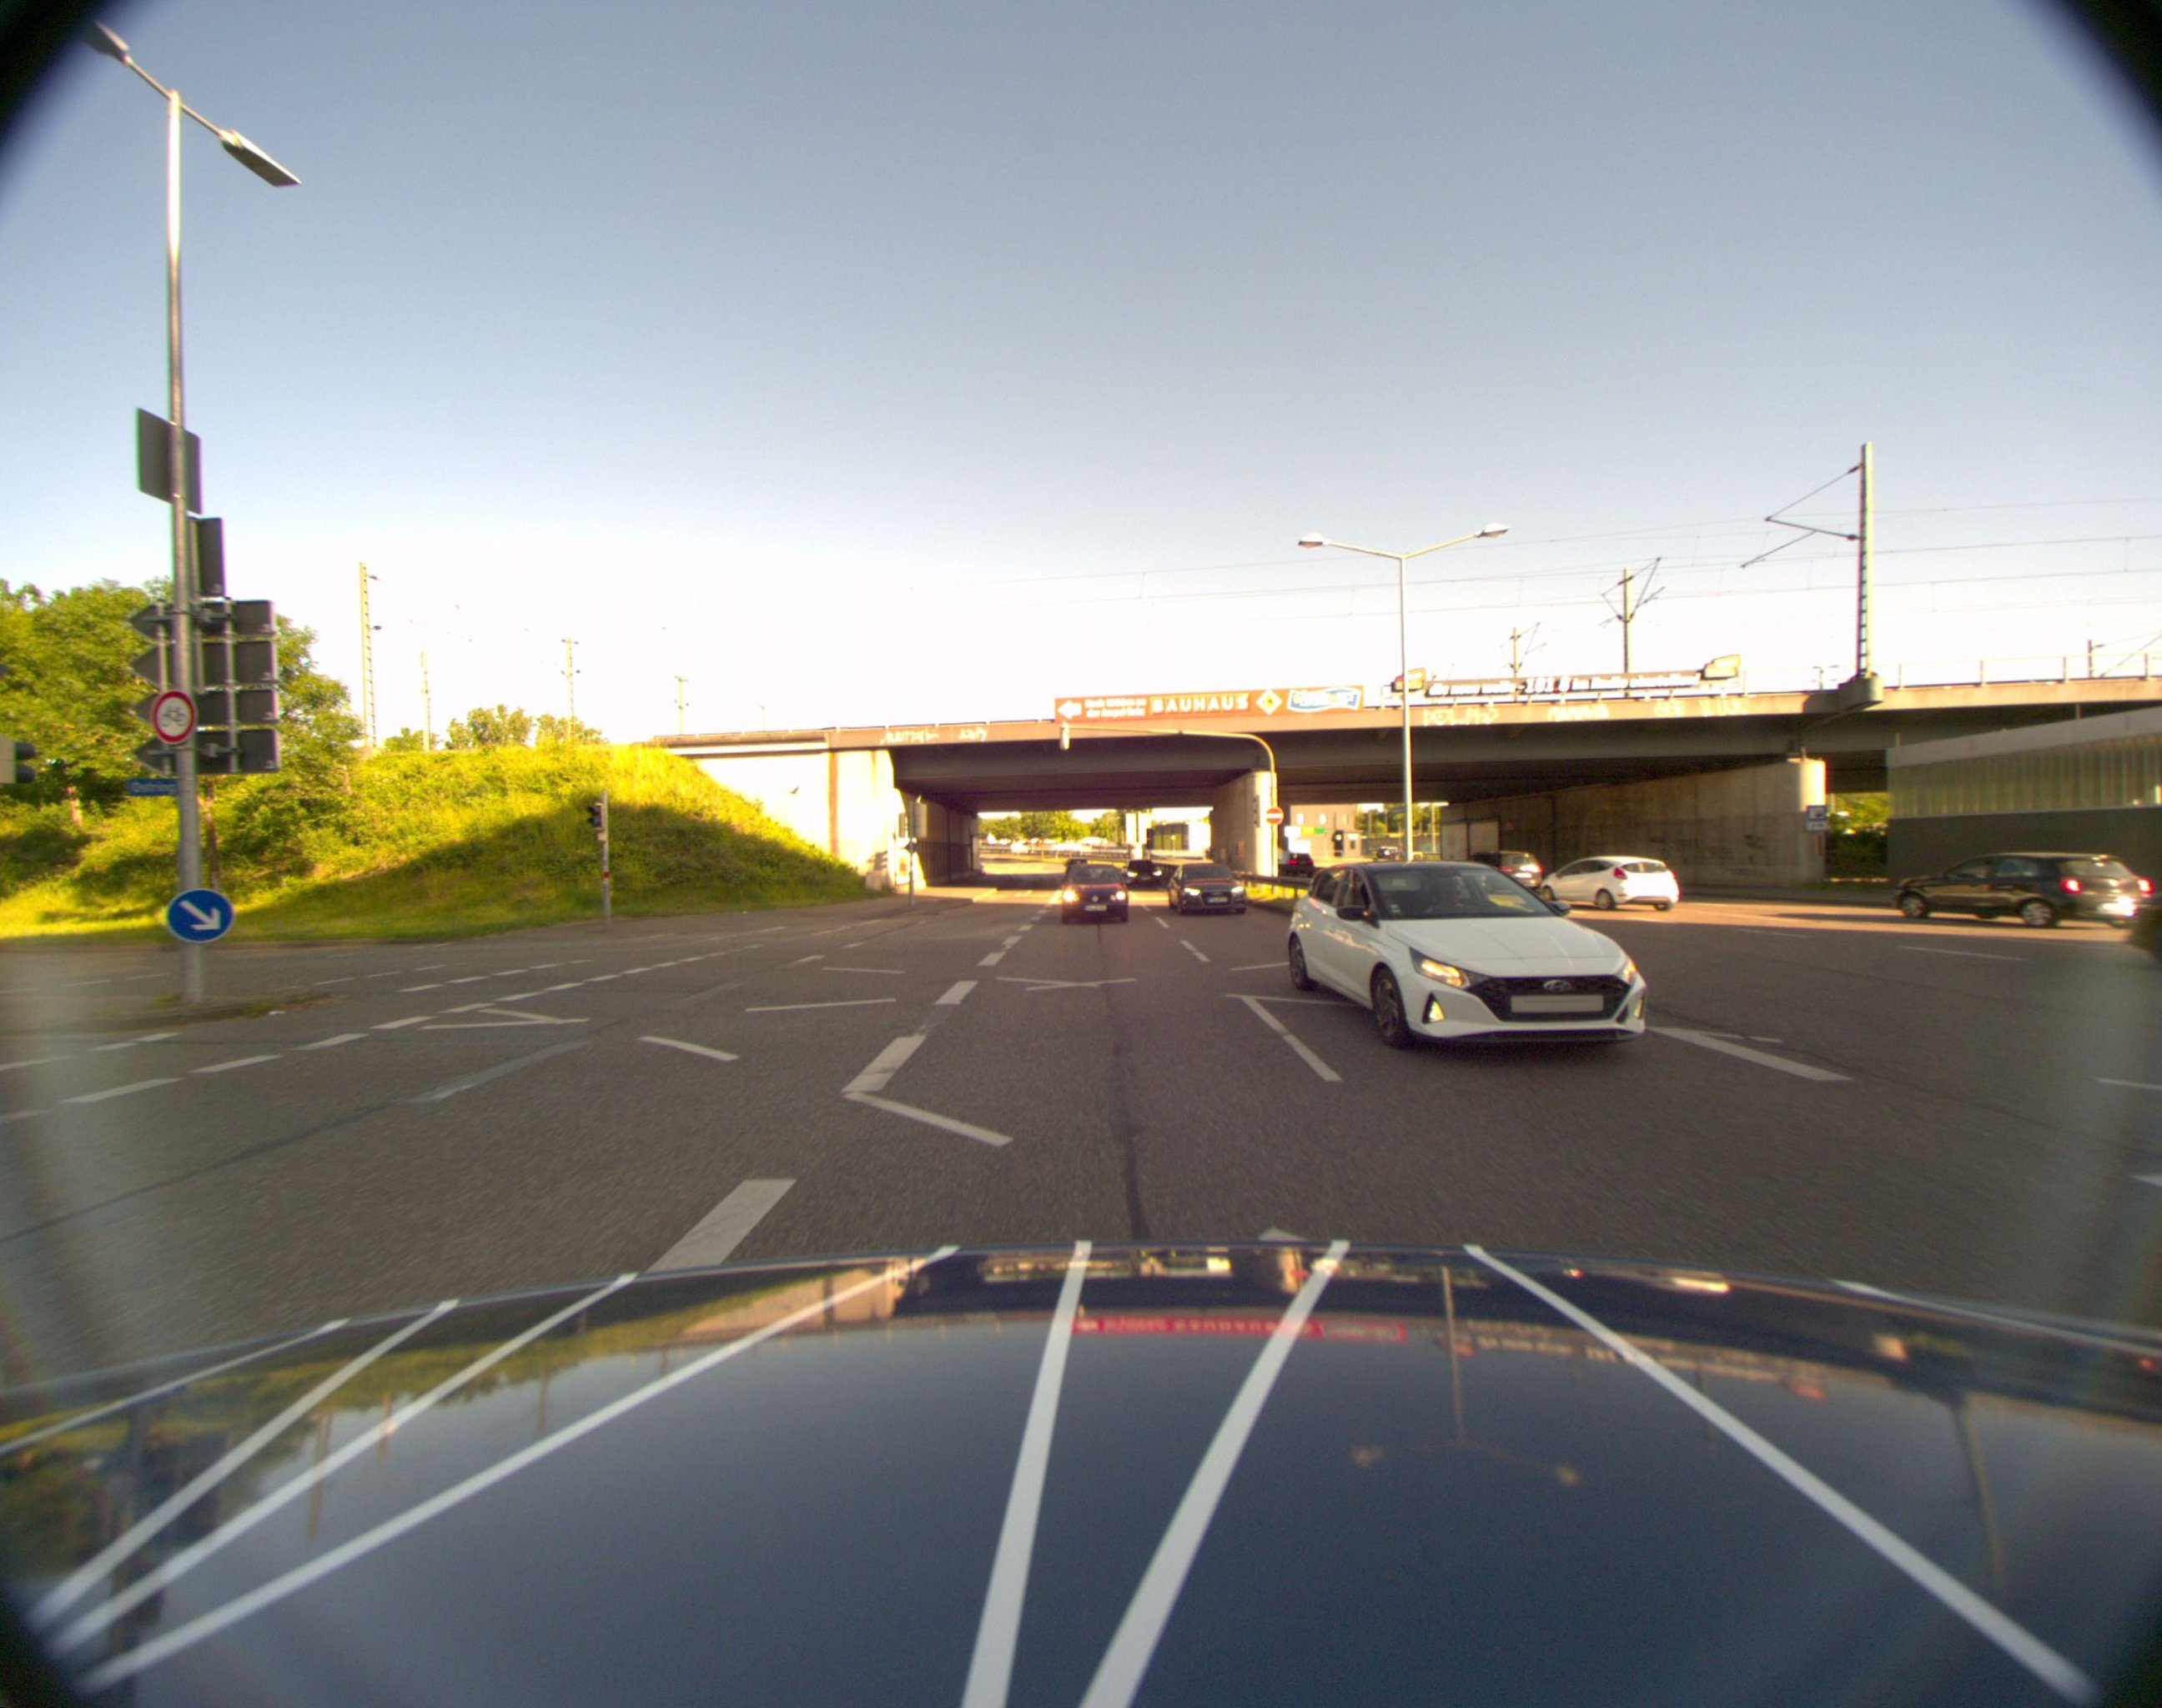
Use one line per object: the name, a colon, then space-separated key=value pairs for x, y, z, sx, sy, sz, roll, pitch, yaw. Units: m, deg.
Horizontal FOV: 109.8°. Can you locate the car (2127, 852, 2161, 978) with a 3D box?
car: x=13.886 y=0.755 z=7.505 sx=1.632 sy=1.531 sz=4.000 roll=1 pitch=0 yaw=2

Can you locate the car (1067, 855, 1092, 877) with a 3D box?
car: x=-0.076 y=0.819 z=53.899 sx=1.702 sy=1.478 sz=3.946 roll=-1 pitch=0 yaw=1

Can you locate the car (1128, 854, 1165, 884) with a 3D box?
car: x=3.543 y=0.781 z=41.749 sx=1.702 sy=1.528 sz=3.946 roll=-1 pitch=0 yaw=1

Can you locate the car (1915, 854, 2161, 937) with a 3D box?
car: x=19.844 y=0.755 z=15.492 sx=1.785 sy=1.476 sz=3.678 roll=0 pitch=0 yaw=5

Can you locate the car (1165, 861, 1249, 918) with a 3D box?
car: x=3.508 y=0.944 z=21.884 sx=1.702 sy=1.396 sz=4.365 roll=-2 pitch=0 yaw=1

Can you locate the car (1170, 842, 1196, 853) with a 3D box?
car: x=15.587 y=-0.989 z=116.476 sx=3.897 sy=1.645 sz=1.723 roll=-2 pitch=1 yaw=6

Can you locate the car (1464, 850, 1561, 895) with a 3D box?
car: x=17.436 y=0.700 z=30.938 sx=1.727 sy=1.730 sz=4.000 roll=0 pitch=0 yaw=1

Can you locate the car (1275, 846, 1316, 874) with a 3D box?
car: x=14.315 y=0.377 z=50.986 sx=1.814 sy=1.687 sz=4.001 roll=-2 pitch=1 yaw=4

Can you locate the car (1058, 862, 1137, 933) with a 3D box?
car: x=0.390 y=0.996 z=18.906 sx=1.702 sy=1.474 sz=4.052 roll=-2 pitch=0 yaw=1

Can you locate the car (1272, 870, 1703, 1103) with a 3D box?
car: x=3.158 y=0.907 z=6.988 sx=1.782 sy=1.400 sz=4.075 roll=-2 pitch=0 yaw=0

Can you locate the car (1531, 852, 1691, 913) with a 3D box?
car: x=14.696 y=0.729 z=21.357 sx=1.727 sy=1.531 sz=4.000 roll=1 pitch=0 yaw=1
